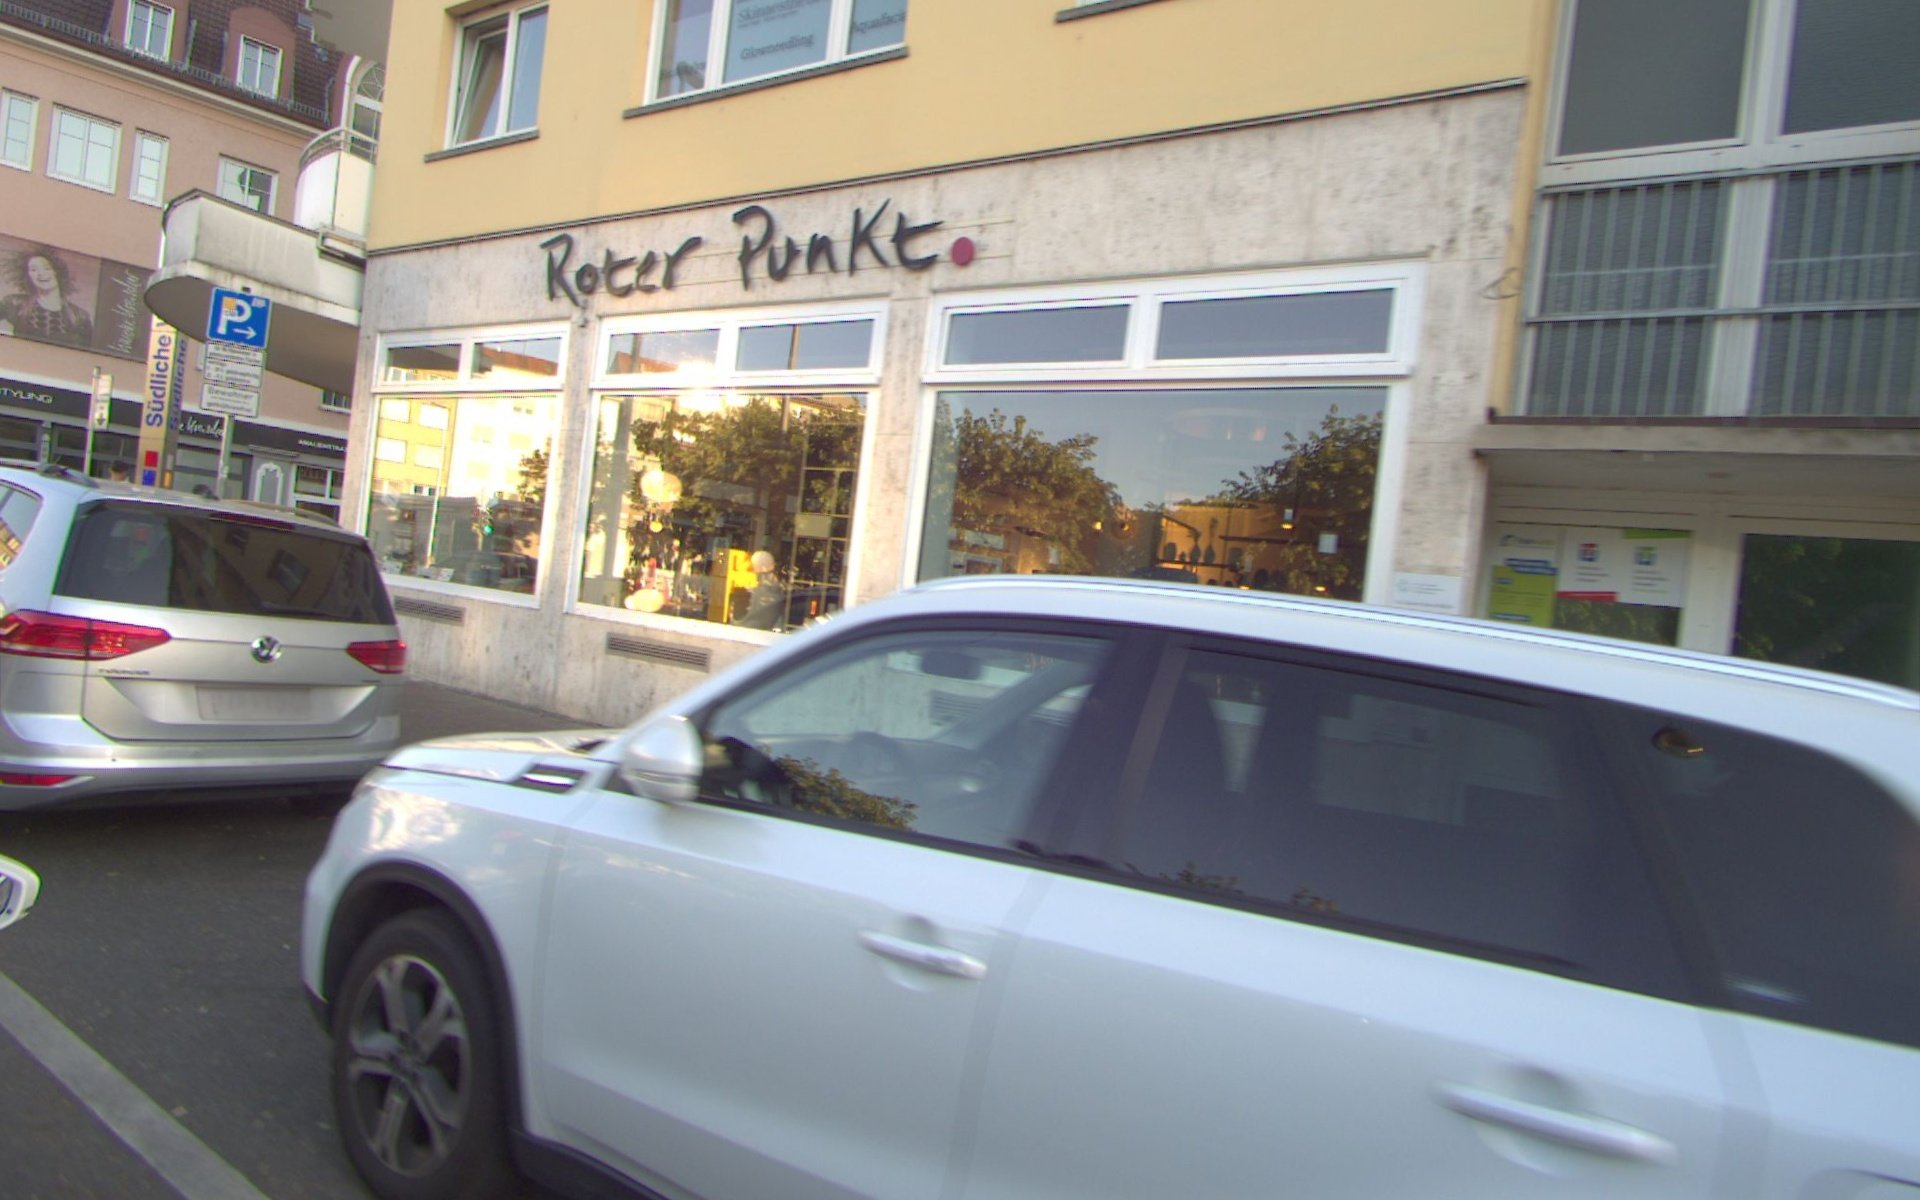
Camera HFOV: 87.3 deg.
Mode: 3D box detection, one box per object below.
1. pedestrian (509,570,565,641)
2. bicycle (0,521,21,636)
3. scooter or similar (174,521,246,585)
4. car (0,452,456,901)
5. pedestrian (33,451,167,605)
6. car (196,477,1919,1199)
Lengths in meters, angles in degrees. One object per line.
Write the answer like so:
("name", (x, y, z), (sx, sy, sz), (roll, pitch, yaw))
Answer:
("pedestrian", (-7.778, 0.104, 18.505), (0.633, 1.199, 0.697), (7, -1, -41))
("bicycle", (-10.024, -0.270, 9.297), (0.584, 1.137, 1.850), (6, 0, 20))
("scooter or similar", (-17.022, -1.064, 22.856), (1.192, 1.276, 0.360), (7, 0, -34))
("car", (-5.048, 0.120, 5.498), (4.603, 1.636, 1.701), (7, -1, 30))
("pedestrian", (-11.169, -0.913, 13.087), (0.855, 1.839, 0.826), (7, 0, 12))
("car", (0.246, 0.767, 2.393), (4.133, 1.640, 1.819), (7, -1, 32))
